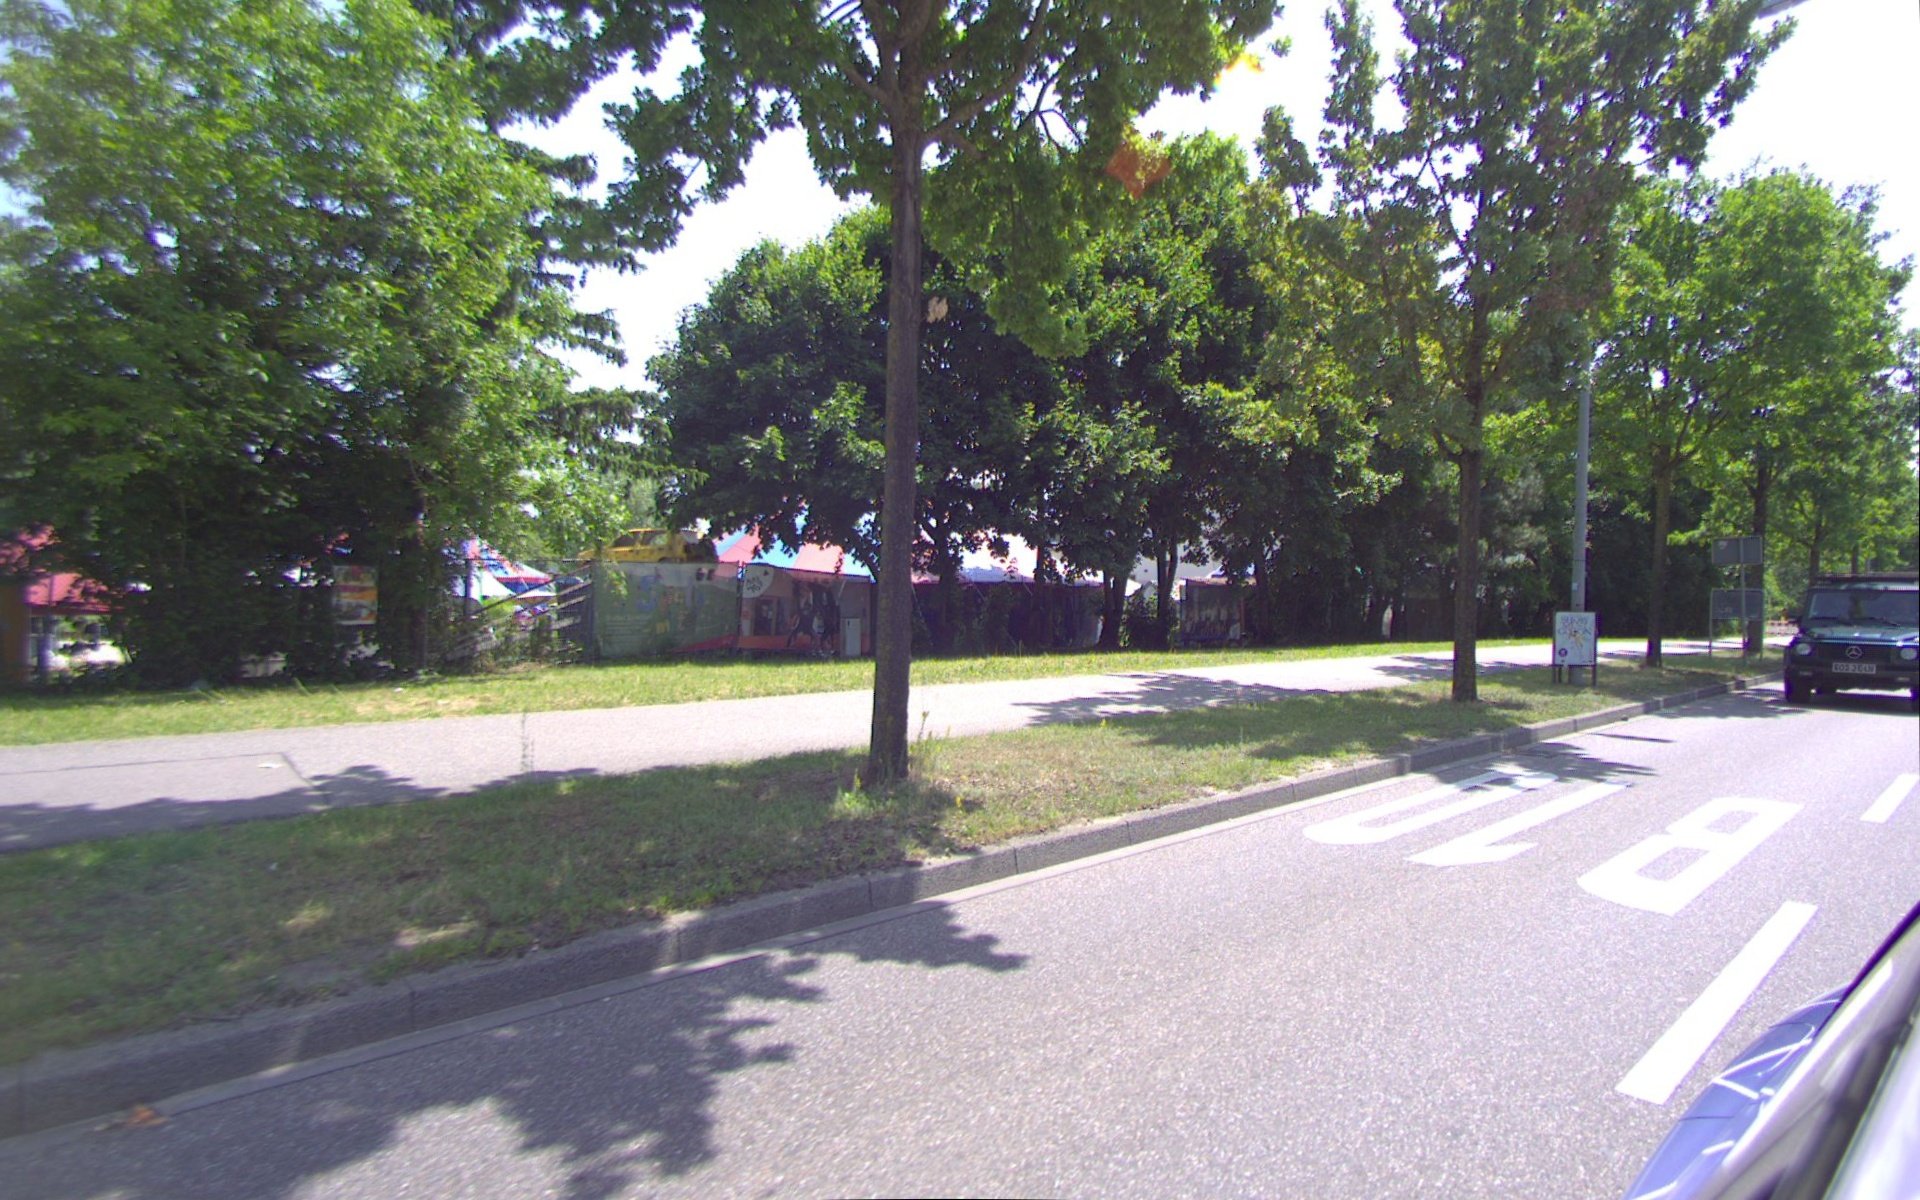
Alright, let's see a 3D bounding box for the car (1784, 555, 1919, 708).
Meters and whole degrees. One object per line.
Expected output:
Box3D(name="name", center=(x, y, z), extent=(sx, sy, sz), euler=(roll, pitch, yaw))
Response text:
Box3D(name="car", center=(14.882, 0.448, 16.315), extent=(4.480, 2.181, 1.839), euler=(1, 1, -43))
